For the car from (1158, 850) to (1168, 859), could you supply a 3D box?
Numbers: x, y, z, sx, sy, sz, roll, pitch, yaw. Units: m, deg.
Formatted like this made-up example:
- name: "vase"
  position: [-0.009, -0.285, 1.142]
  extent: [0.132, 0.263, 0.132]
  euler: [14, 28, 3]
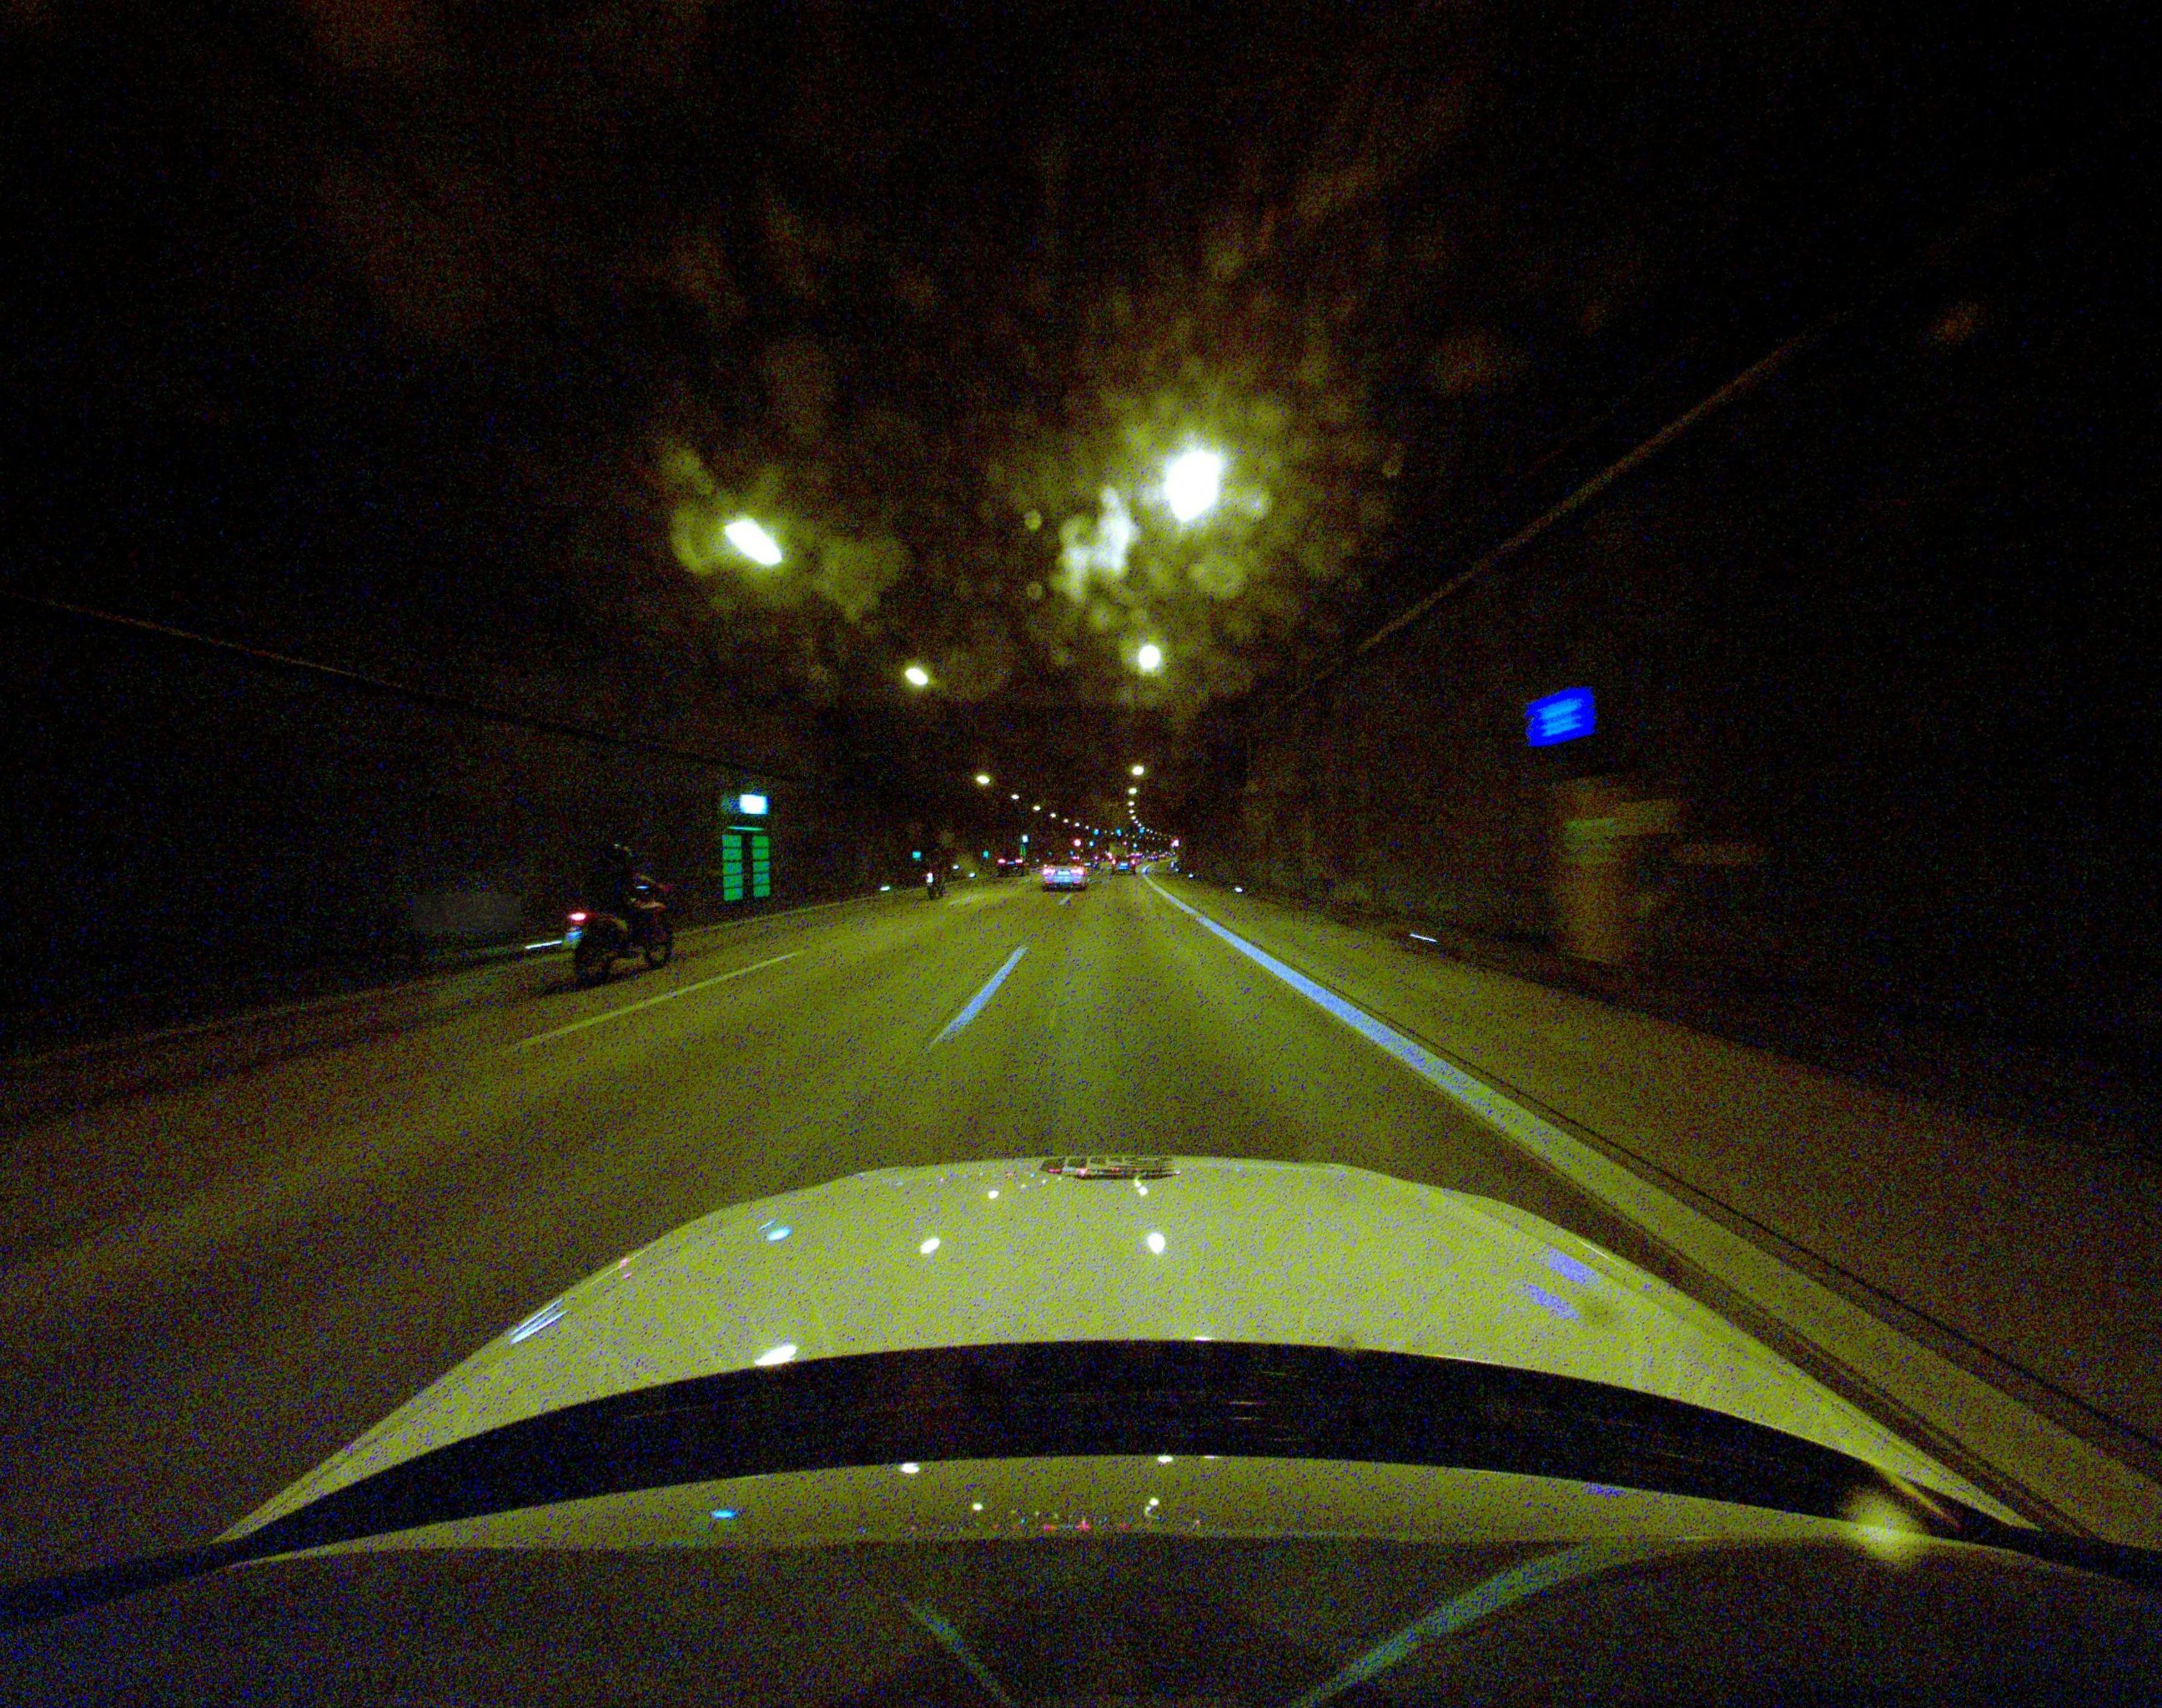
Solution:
- name: "car"
  position: [16.668, 0.135, 164.833]
  extent: [1.850, 1.666, 4.005]
  euler: [-2, 0, 4]

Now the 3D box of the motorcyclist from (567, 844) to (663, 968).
- name: "motorcyclist"
  position: [-5.849, 0.628, 10.266]
  extent: [0.624, 1.489, 0.891]
  euler: [-1, 0, 3]

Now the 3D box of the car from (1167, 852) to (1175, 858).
- name: "car"
  position: [23.732, 0.258, 214.748]
  extent: [1.823, 1.691, 4.009]
  euler: [-2, 0, 8]

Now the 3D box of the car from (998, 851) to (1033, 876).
- name: "car"
  position: [-4.464, 0.646, 55.804]
  extent: [1.777, 1.598, 3.805]
  euler: [-1, 0, 4]

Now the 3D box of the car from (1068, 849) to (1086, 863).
- name: "car"
  position: [-0.513, 0.294, 107.569]
  extent: [1.791, 1.684, 4.006]
  euler: [-4, -1, 6]

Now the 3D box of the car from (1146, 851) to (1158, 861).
- name: "car"
  position: [11.888, 0.266, 136.494]
  extent: [1.836, 1.568, 4.004]
  euler: [-2, 0, 4]

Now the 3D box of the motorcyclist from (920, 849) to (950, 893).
- name: "motorcyclist"
  position: [-5.042, 0.582, 28.235]
  extent: [0.835, 1.477, 0.822]
  euler: [1, 0, 3]

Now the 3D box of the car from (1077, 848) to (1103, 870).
- name: "car"
  position: [0.880, 0.449, 75.420]
  extent: [1.983, 1.972, 4.007]
  euler: [0, 0, 6]

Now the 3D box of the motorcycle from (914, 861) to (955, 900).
- name: "motorcycle"
  position: [-5.052, 0.900, 28.351]
  extent: [0.842, 1.245, 2.606]
  euler: [-1, 0, 2]

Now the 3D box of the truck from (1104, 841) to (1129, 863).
- name: "truck"
  position: [5.488, -0.371, 123.588]
  extent: [3.068, 3.112, 10.044]
  euler: [-3, 1, 5]

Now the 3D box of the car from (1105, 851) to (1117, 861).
- name: "car"
  position: [5.418, 0.323, 146.475]
  extent: [1.835, 1.603, 4.004]
  euler: [-2, 0, 4]

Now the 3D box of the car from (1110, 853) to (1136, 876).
- name: "car"
  position: [3.136, 0.777, 61.815]
  extent: [1.833, 1.602, 4.000]
  euler: [1, 0, 1]

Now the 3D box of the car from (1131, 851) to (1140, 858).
- name: "car"
  position: [11.964, 0.101, 179.978]
  extent: [1.823, 1.618, 4.002]
  euler: [-2, 0, 2]

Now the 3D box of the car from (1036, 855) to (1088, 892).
- name: "car"
  position: [-0.740, 0.787, 34.758]
  extent: [1.986, 1.483, 4.001]
  euler: [-1, 0, 2]

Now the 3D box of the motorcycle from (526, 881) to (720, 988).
- name: "motorcycle"
  position: [-5.818, 0.968, 10.593]
  extent: [1.049, 1.157, 2.429]
  euler: [-1, 0, 3]
